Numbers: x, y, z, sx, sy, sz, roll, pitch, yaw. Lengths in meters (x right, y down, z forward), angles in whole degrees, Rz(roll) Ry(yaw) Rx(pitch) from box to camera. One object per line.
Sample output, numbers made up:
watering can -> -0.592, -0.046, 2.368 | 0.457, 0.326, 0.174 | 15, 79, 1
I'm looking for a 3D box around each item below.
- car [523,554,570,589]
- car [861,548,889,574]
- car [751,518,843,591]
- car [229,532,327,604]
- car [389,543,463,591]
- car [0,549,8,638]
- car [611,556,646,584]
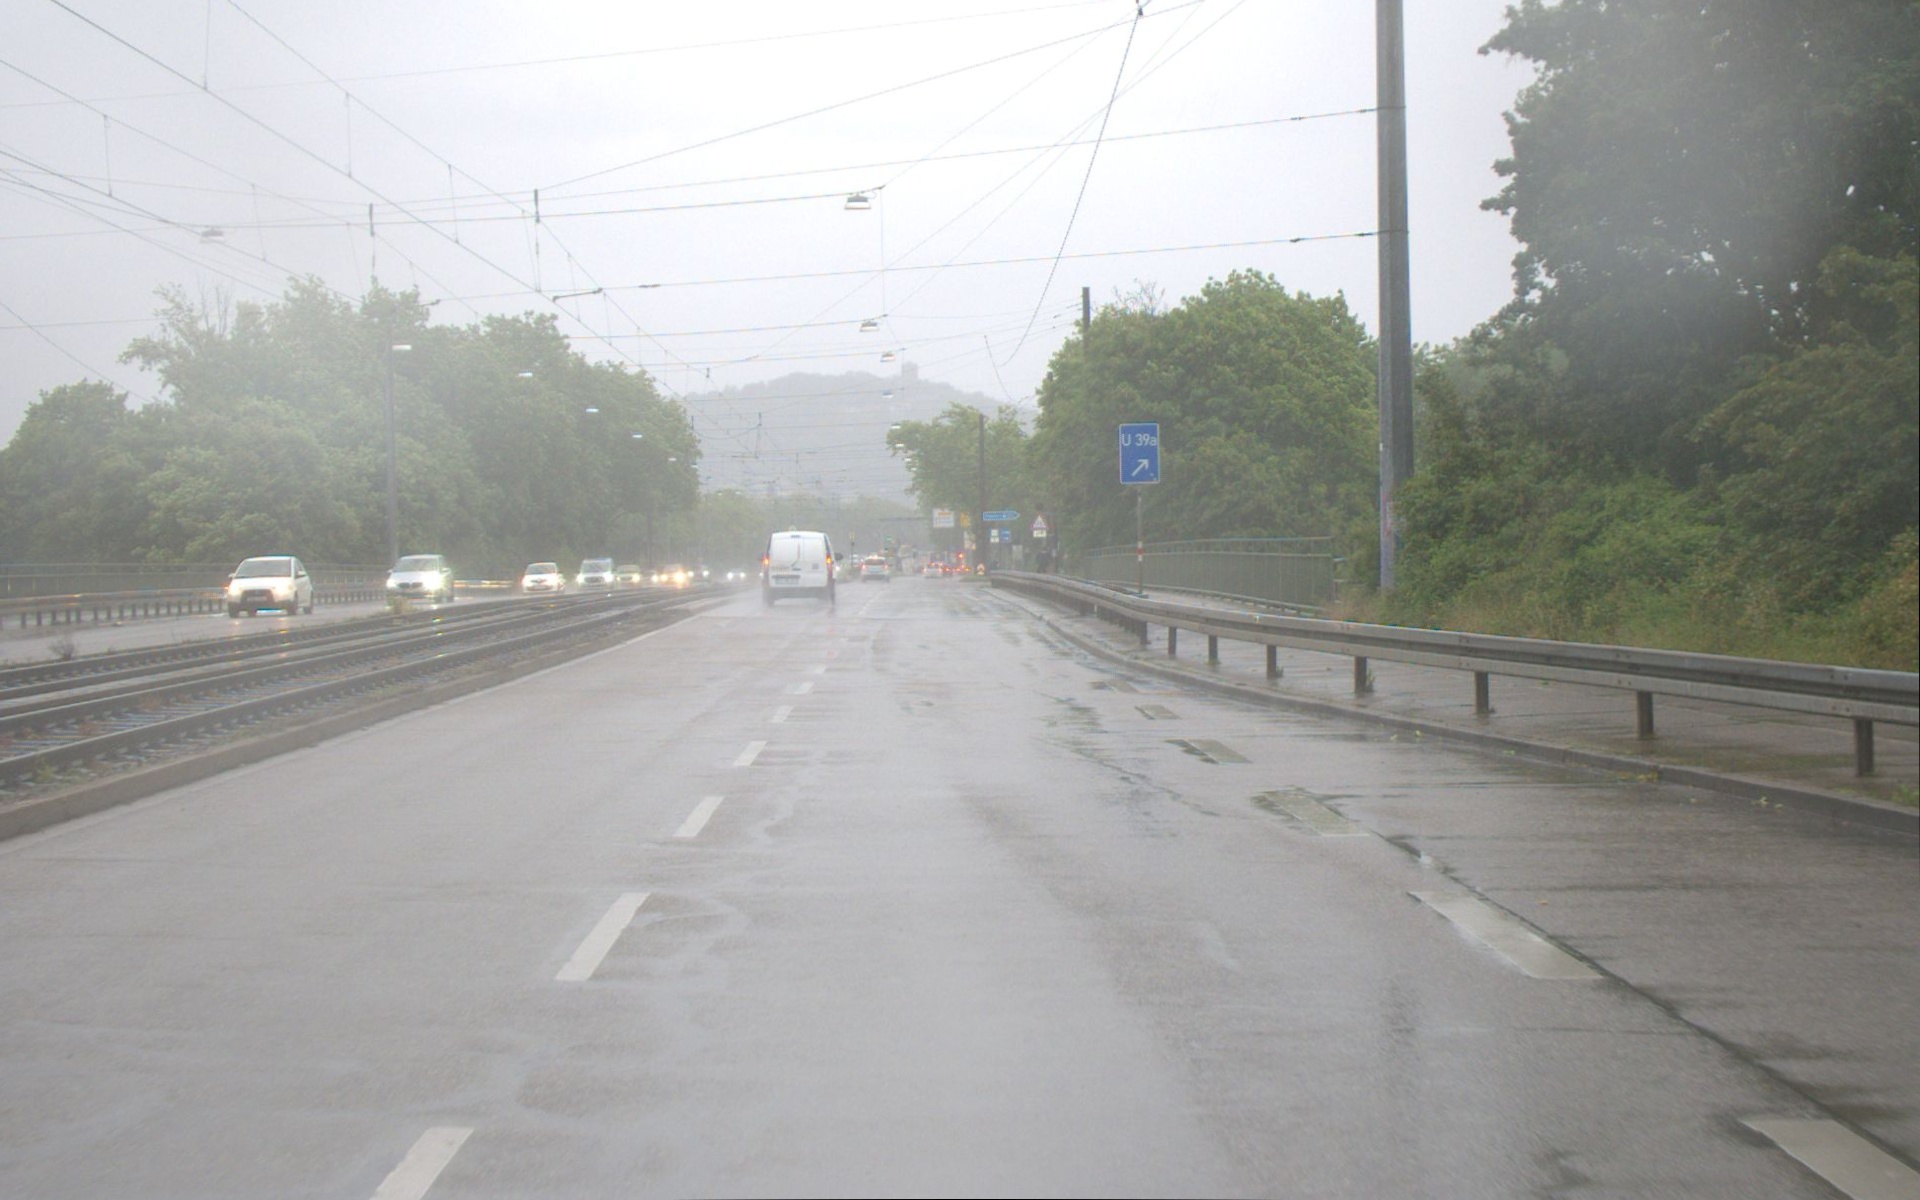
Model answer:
car -> -18.758, -1.306, 156.042 | 1.743, 1.503, 3.700 | 1, 2, -1
car -> -5.373, -2.474, 218.353 | 1.743, 1.503, 3.700 | 1, 2, -1
car -> -3.954, -1.128, 83.902 | 1.989, 1.678, 3.740 | 1, 2, 1
car -> -17.266, -0.828, 87.180 | 1.754, 1.705, 4.001 | 1, 2, -1
car -> -17.568, -1.107, 113.222 | 1.797, 1.448, 4.195 | 1, 2, 0
car -> -17.501, -0.052, 57.564 | 1.689, 1.513, 4.611 | 1, 2, 2
car -> -19.477, -1.778, 201.995 | 1.743, 1.503, 3.700 | 1, 2, -1
